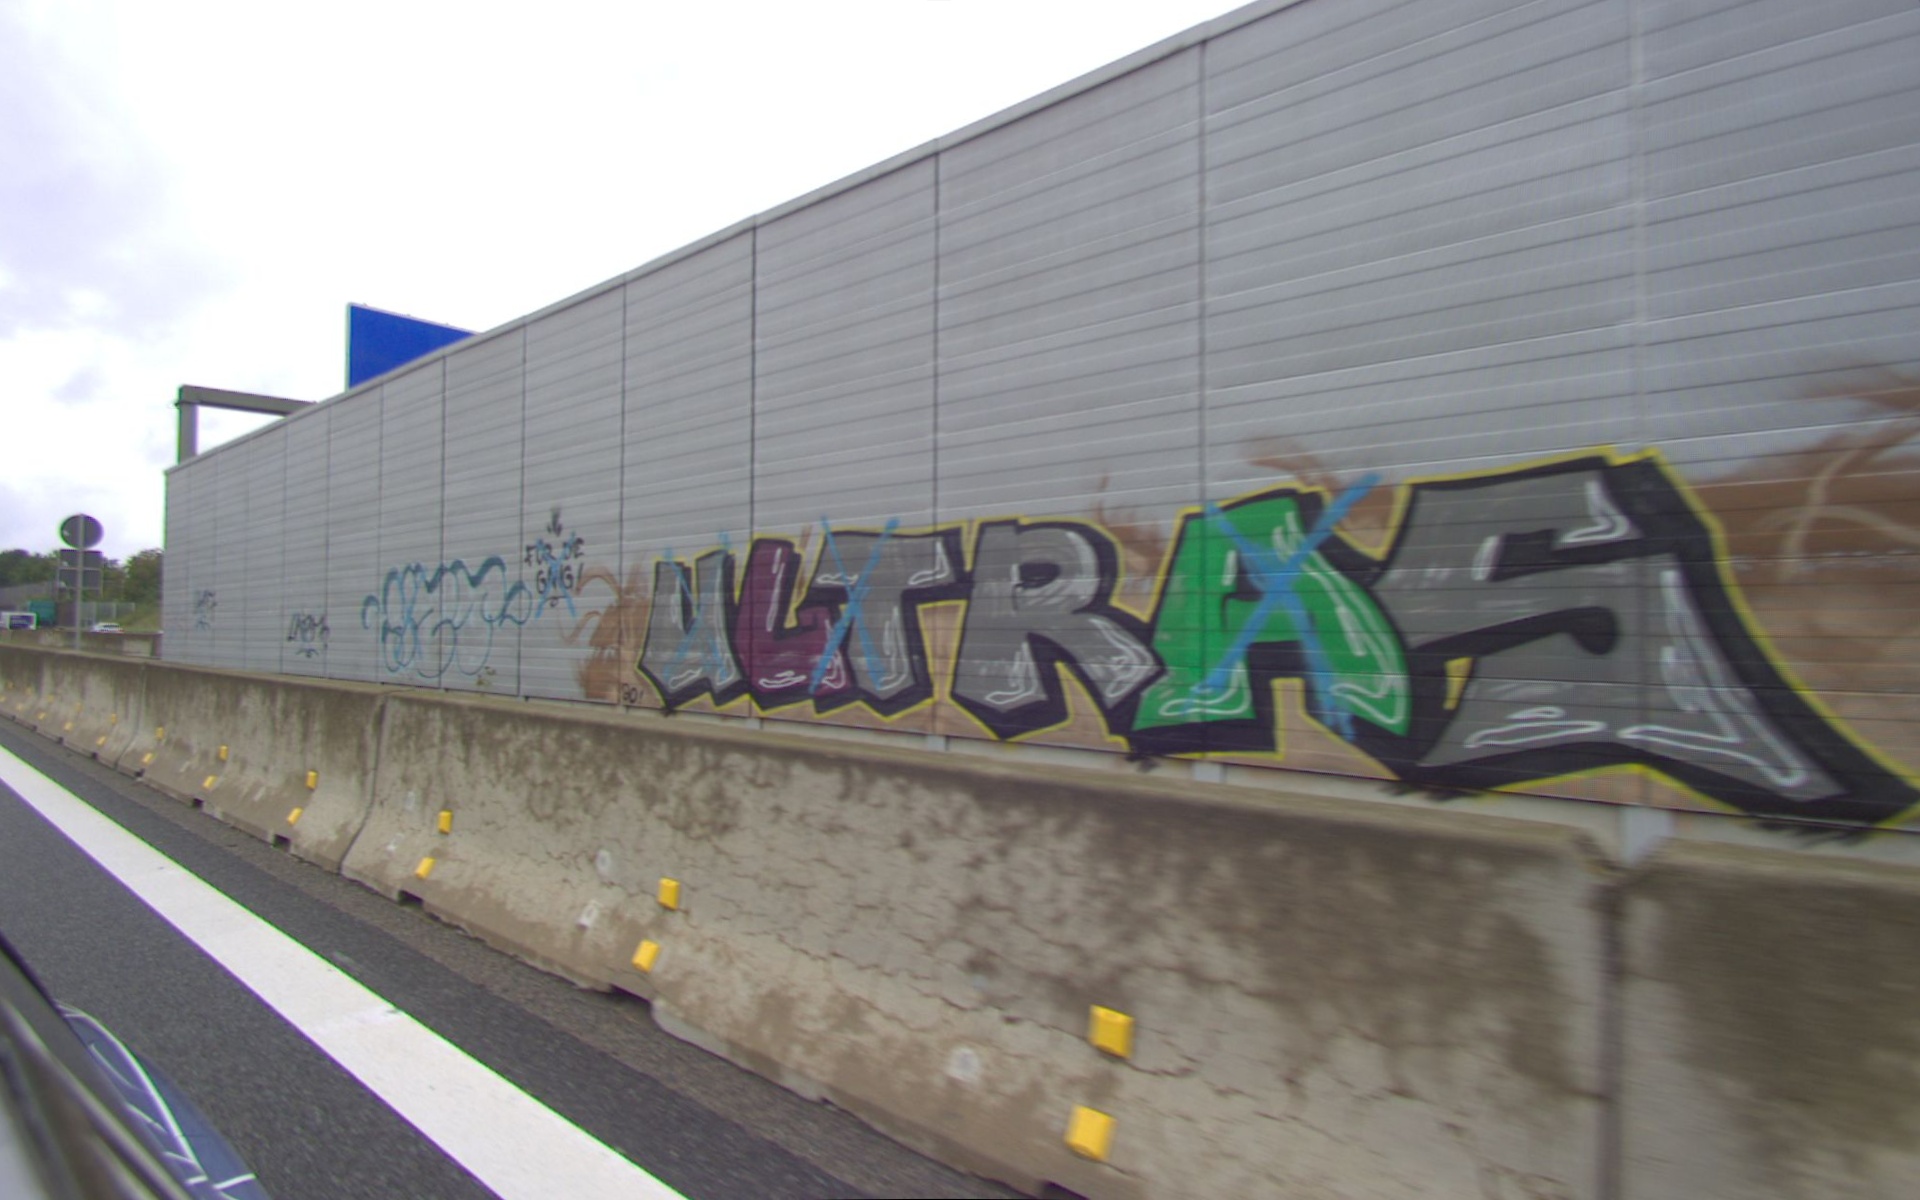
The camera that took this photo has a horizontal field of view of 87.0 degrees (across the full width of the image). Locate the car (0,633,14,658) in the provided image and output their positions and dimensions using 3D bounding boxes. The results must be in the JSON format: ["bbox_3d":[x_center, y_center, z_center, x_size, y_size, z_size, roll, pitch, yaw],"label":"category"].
[{"bbox_3d":[-76.676,3.594,80.450,3.999,1.937,1.848,-1,-1,42],"label":"car"}]

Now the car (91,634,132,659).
[{"bbox_3d":[-71.813,3.939,85.648,3.996,1.996,1.973,-1,-1,40],"label":"car"}]

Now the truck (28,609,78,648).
[{"bbox_3d":[-94.299,2.931,105.159,7.516,3.867,2.833,-1,0,40],"label":"truck"}]

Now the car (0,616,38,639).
[{"bbox_3d":[-87.284,2.532,93.608,7.055,2.029,2.191,-1,-1,41],"label":"car"}]
